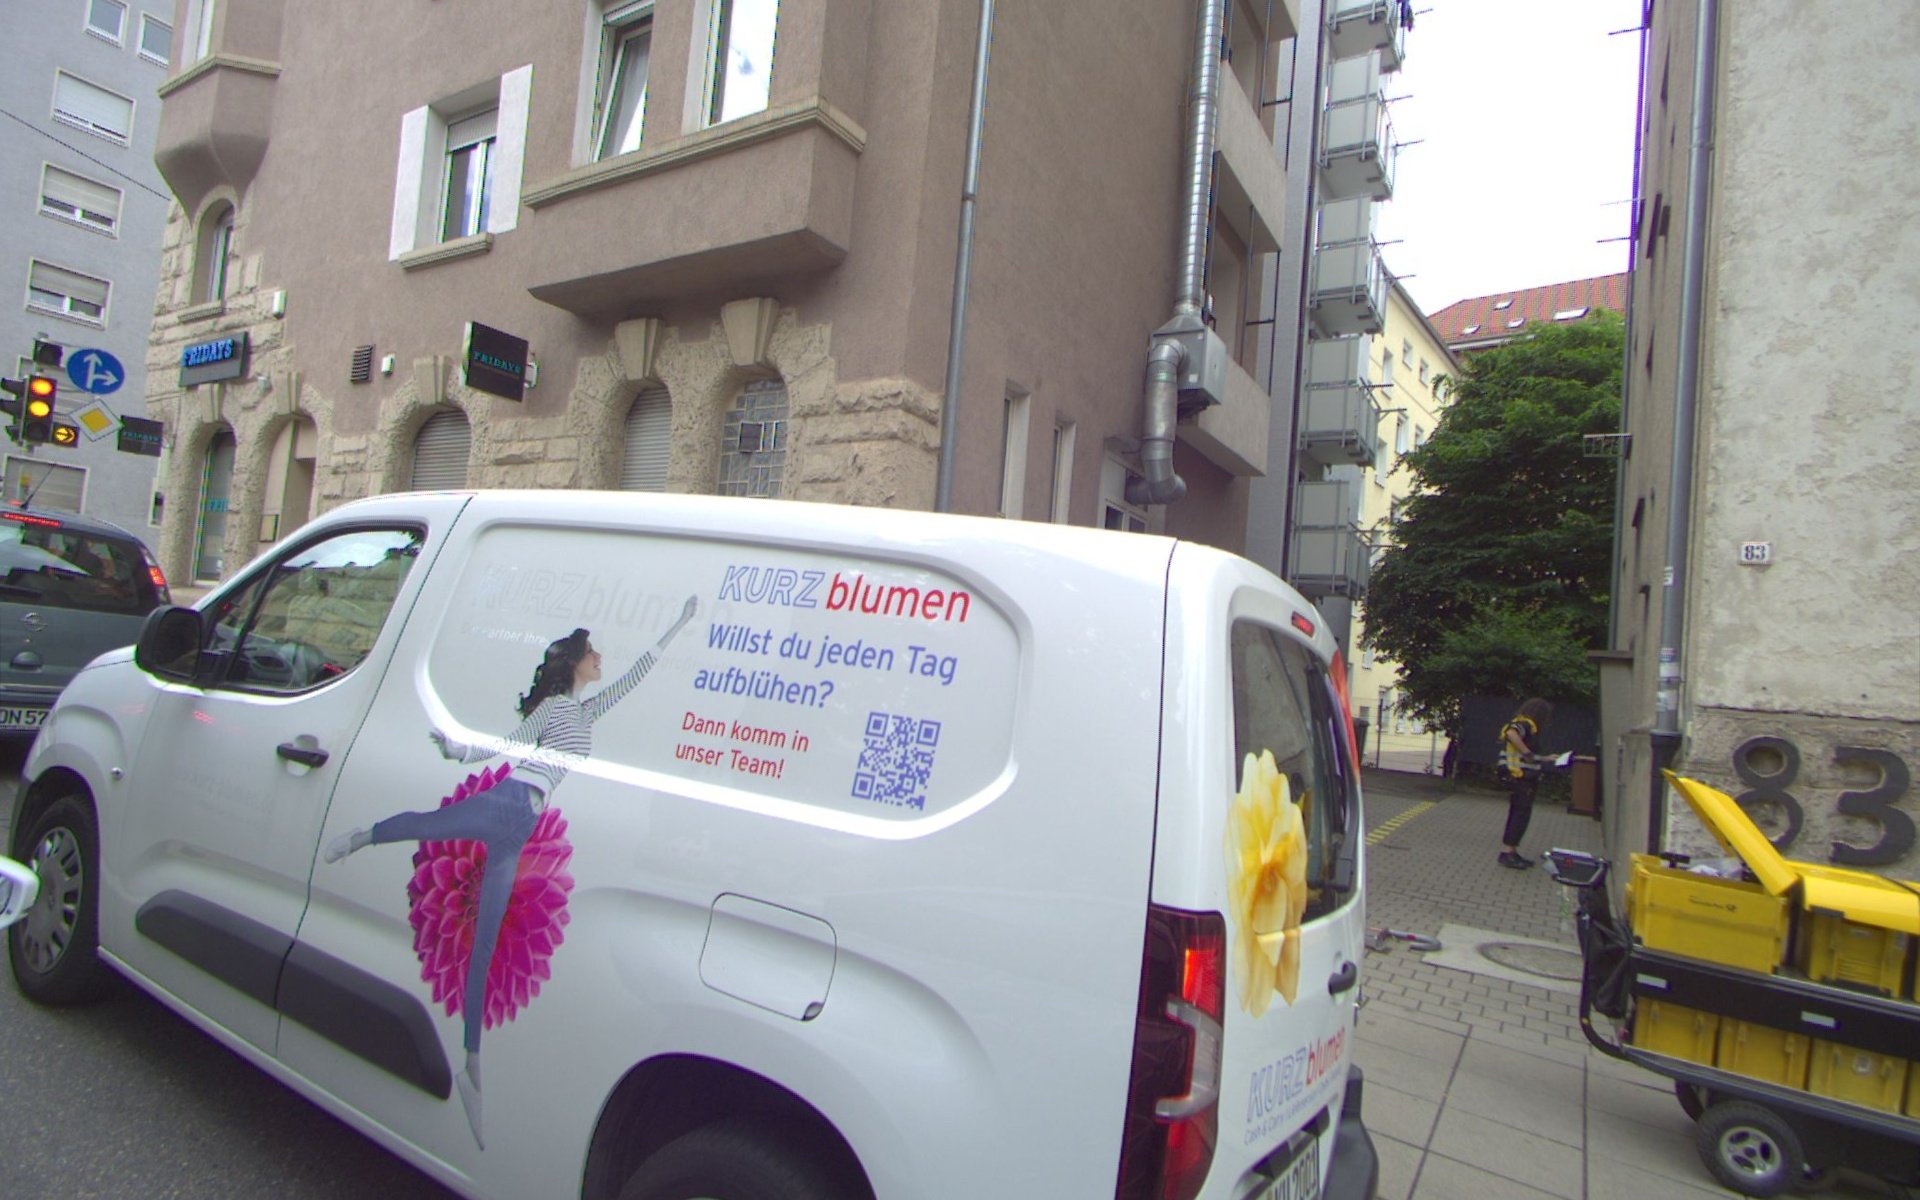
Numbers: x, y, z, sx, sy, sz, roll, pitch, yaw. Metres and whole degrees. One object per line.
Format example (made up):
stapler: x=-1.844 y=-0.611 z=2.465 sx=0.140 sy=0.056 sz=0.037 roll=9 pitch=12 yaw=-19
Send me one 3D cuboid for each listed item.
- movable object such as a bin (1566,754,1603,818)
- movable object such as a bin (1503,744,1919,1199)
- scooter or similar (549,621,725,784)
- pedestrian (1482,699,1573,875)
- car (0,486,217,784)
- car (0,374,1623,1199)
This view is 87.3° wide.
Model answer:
movable object such as a bin: x=9.922 y=2.944 z=15.982 sx=0.405 sy=0.922 sz=0.340 roll=6 pitch=-1 yaw=32
movable object such as a bin: x=3.358 y=1.457 z=3.995 sx=1.979 sy=1.391 sz=1.223 roll=6 pitch=0 yaw=30
scooter or similar: x=-2.675 y=0.815 z=8.287 sx=1.400 sy=1.117 sz=0.527 roll=6 pitch=-1 yaw=34
pedestrian: x=5.839 y=1.872 z=10.338 sx=0.772 sy=1.665 sz=0.809 roll=0 pitch=-3 yaw=32
car: x=-6.719 y=0.048 z=6.530 sx=3.608 sy=1.614 sz=1.634 roll=6 pitch=-5 yaw=32
car: x=-0.868 y=0.563 z=3.125 sx=4.597 sy=1.793 sz=1.983 roll=6 pitch=-5 yaw=30
